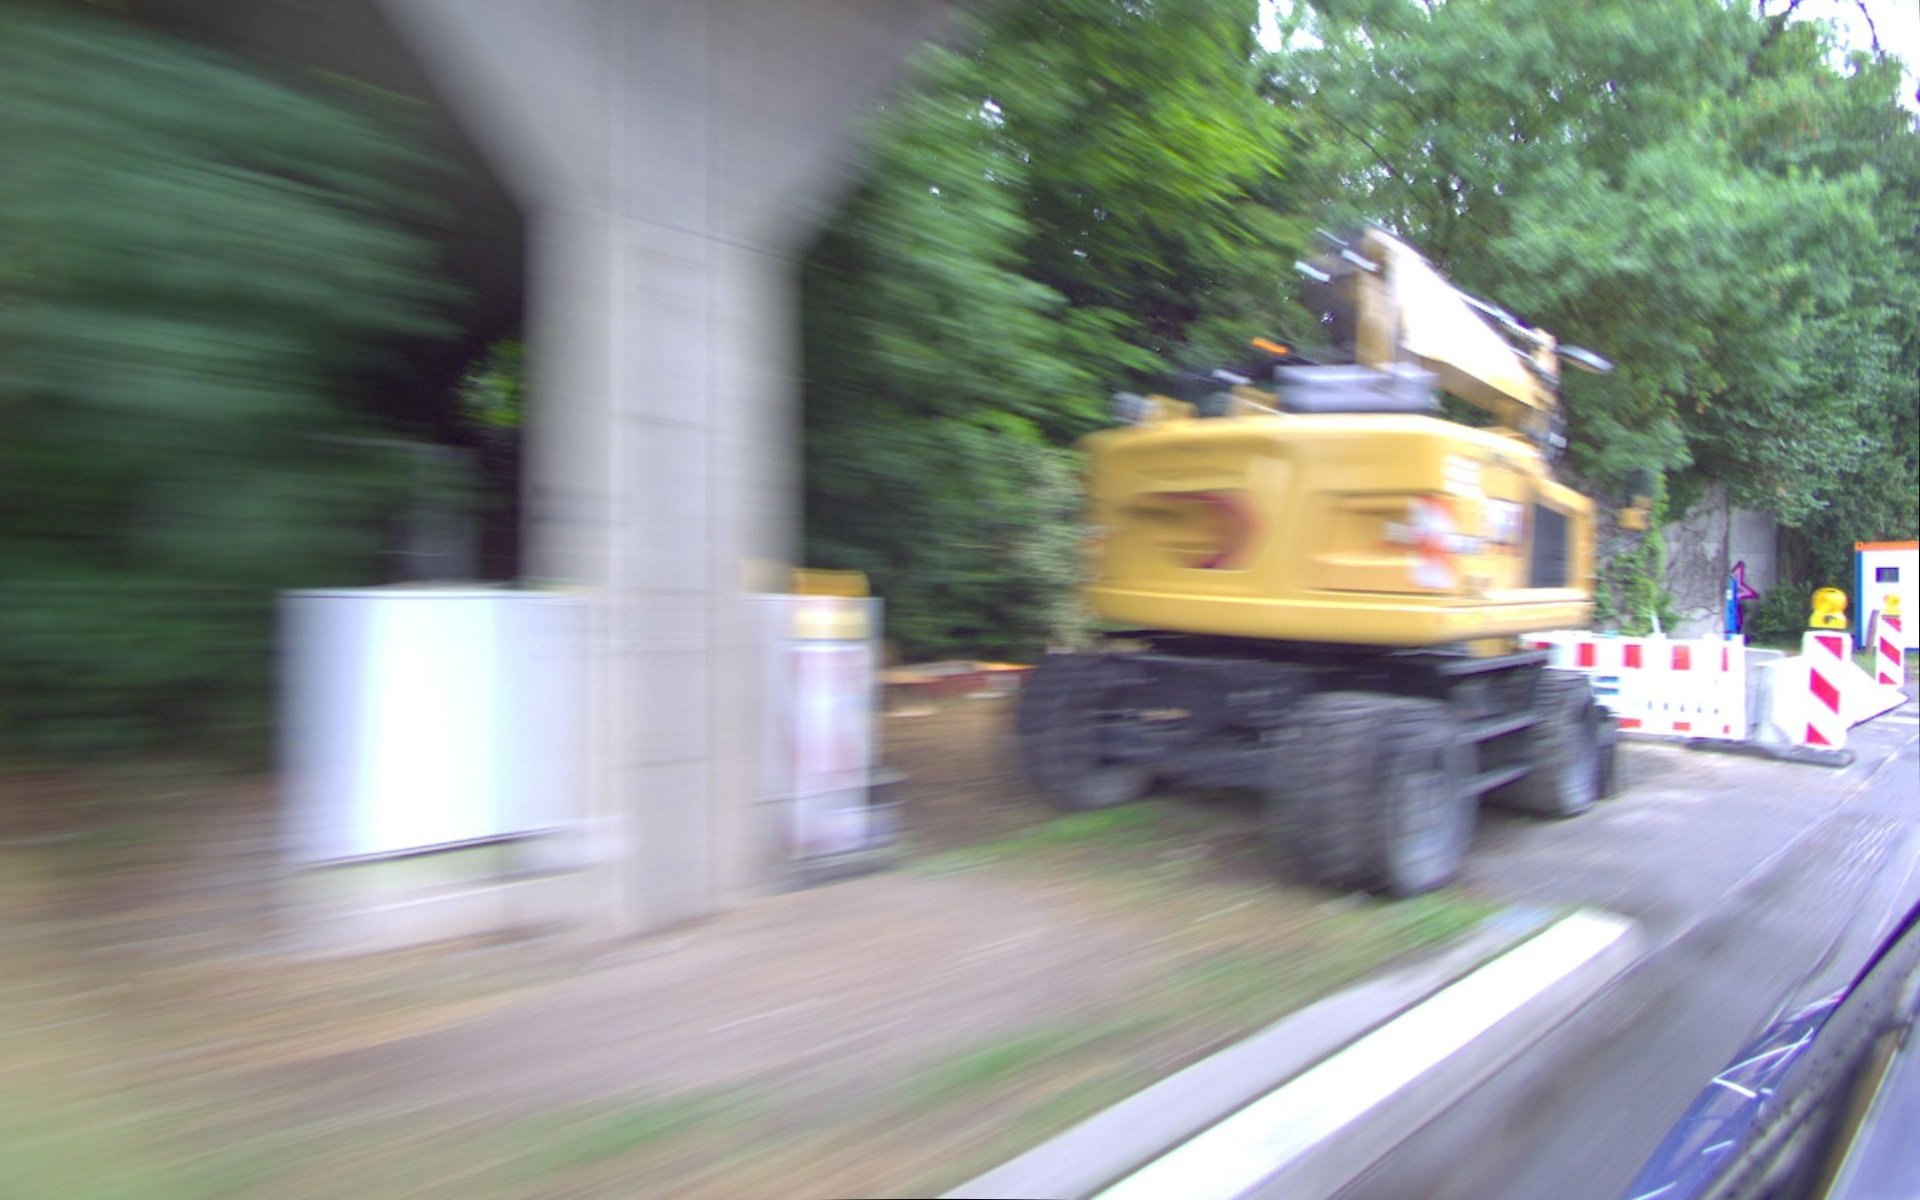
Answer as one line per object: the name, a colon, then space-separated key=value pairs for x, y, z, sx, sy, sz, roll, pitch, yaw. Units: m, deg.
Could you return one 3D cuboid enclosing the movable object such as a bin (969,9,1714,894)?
movable object such as a bin: x=3.241 y=-0.707 z=7.670 sx=6.002 sy=3.989 sz=2.886 roll=-1 pitch=0 yaw=-42
